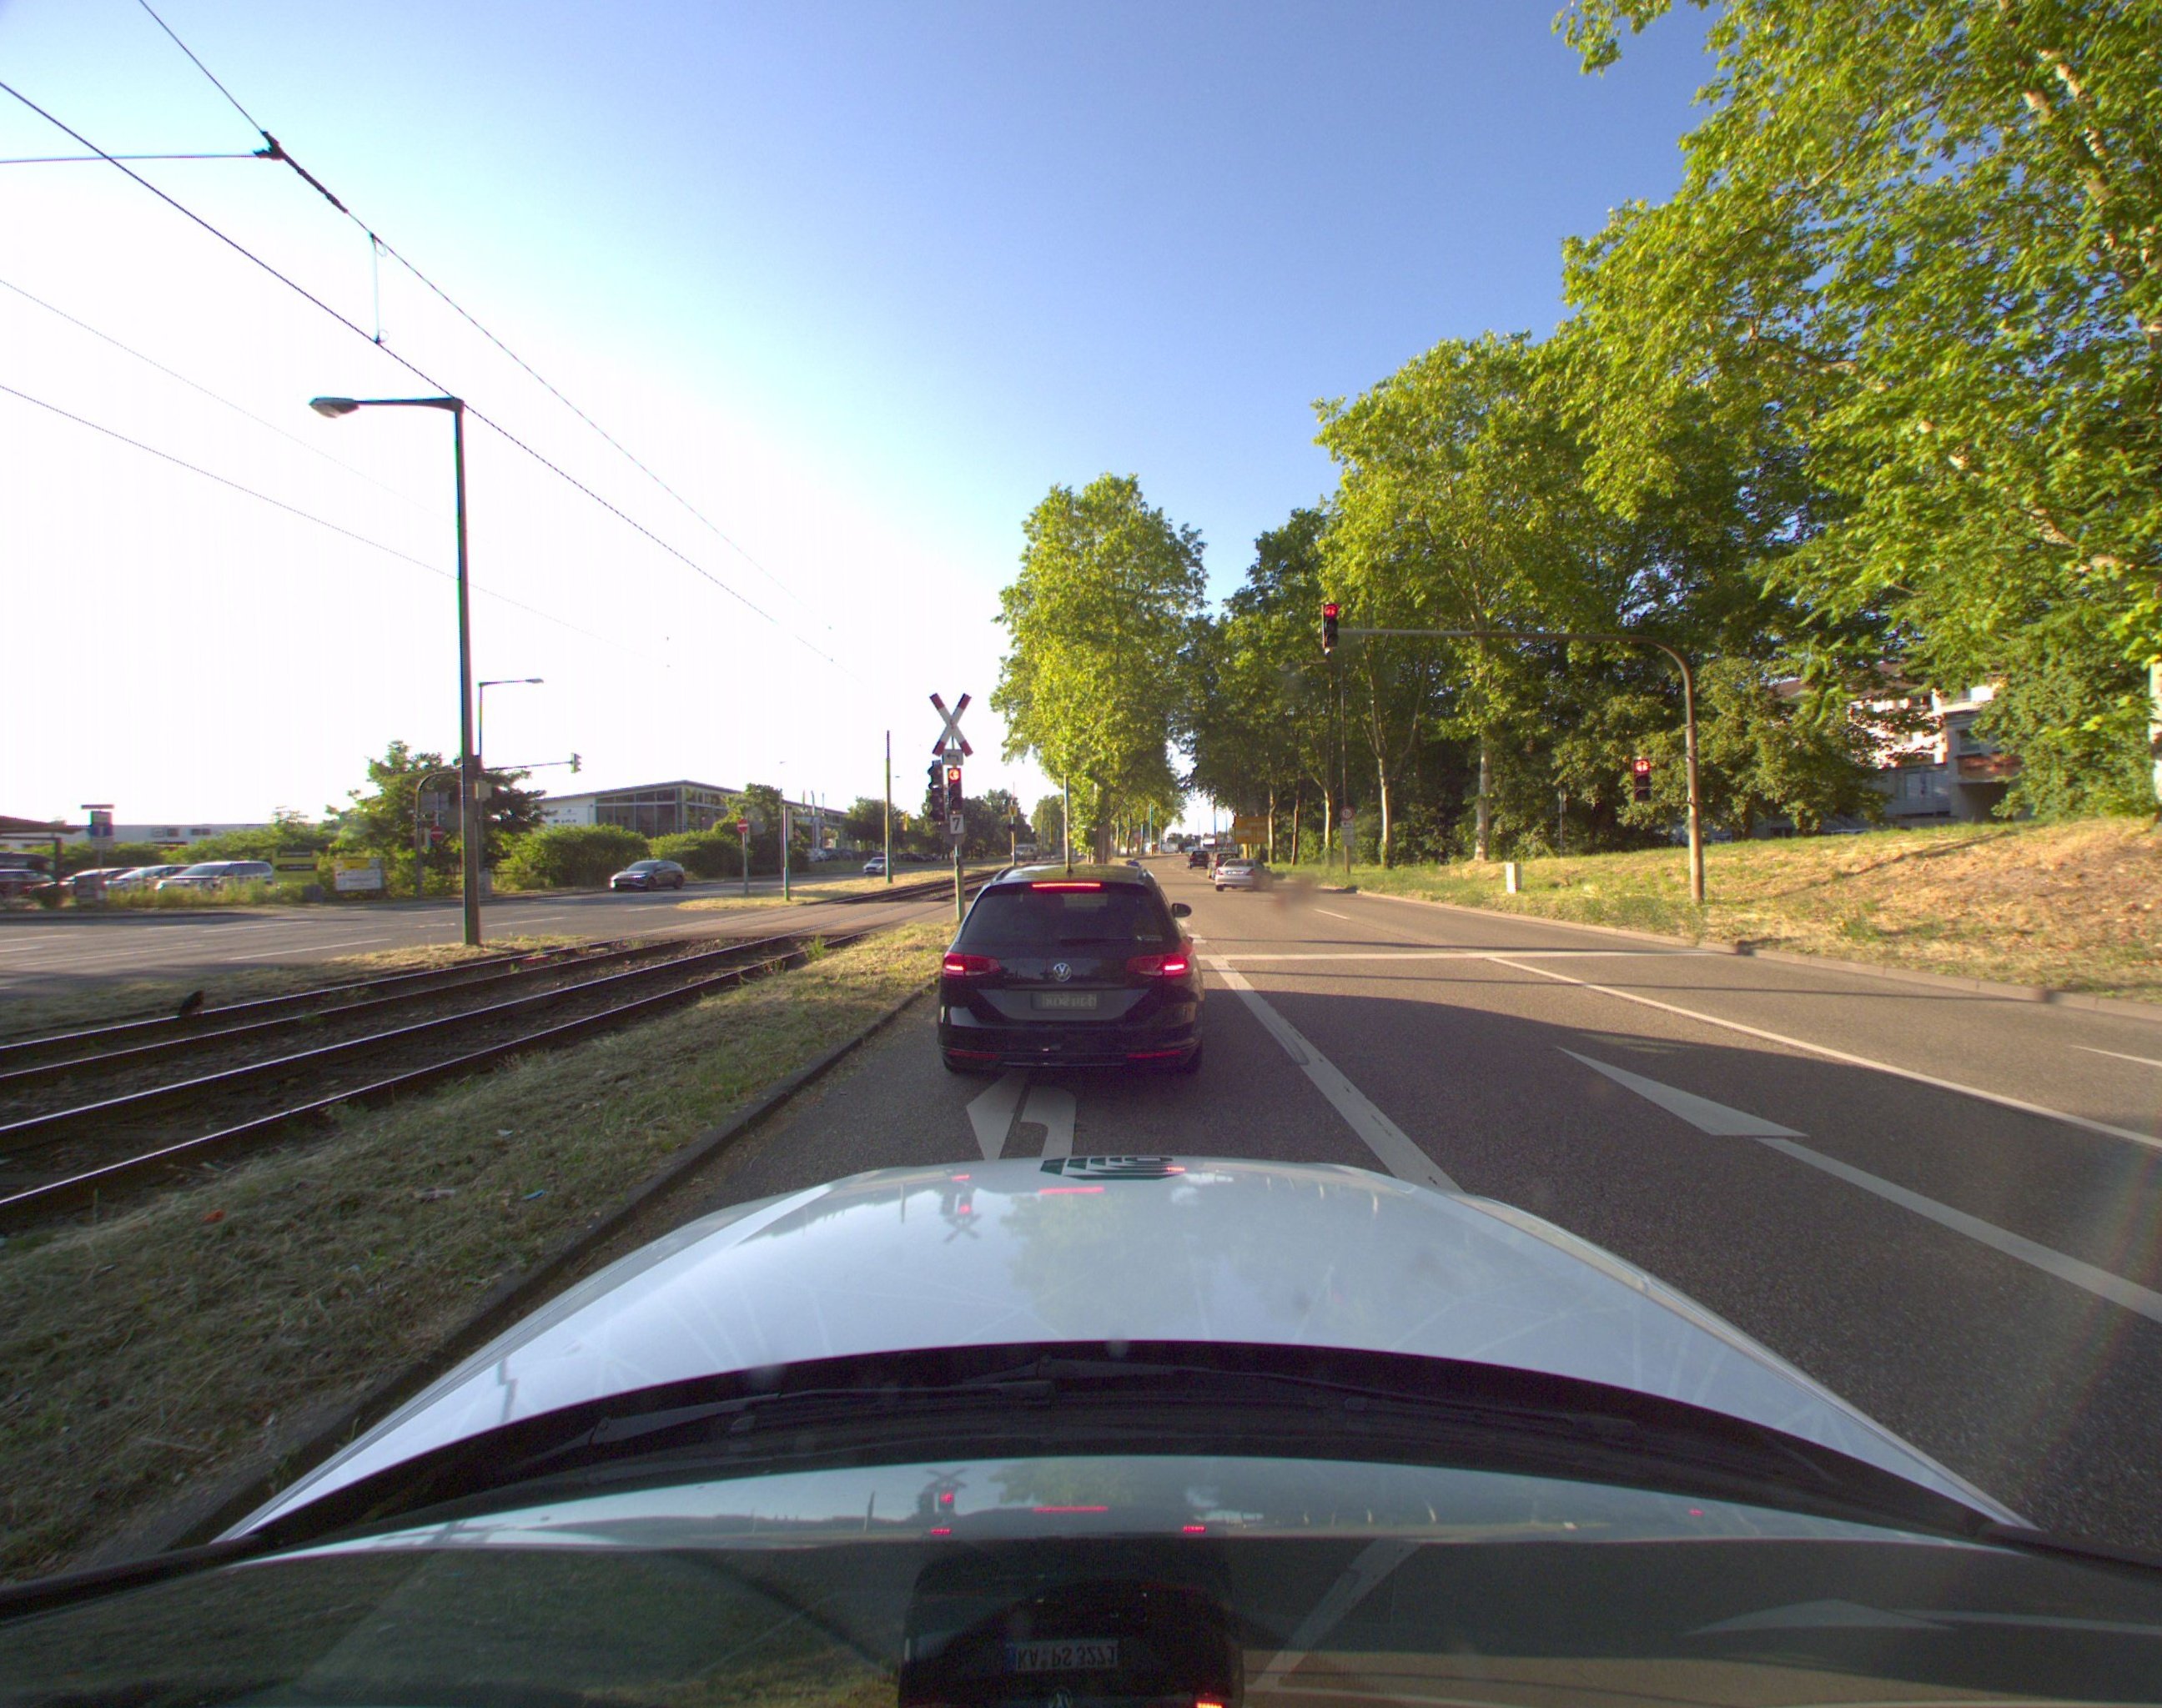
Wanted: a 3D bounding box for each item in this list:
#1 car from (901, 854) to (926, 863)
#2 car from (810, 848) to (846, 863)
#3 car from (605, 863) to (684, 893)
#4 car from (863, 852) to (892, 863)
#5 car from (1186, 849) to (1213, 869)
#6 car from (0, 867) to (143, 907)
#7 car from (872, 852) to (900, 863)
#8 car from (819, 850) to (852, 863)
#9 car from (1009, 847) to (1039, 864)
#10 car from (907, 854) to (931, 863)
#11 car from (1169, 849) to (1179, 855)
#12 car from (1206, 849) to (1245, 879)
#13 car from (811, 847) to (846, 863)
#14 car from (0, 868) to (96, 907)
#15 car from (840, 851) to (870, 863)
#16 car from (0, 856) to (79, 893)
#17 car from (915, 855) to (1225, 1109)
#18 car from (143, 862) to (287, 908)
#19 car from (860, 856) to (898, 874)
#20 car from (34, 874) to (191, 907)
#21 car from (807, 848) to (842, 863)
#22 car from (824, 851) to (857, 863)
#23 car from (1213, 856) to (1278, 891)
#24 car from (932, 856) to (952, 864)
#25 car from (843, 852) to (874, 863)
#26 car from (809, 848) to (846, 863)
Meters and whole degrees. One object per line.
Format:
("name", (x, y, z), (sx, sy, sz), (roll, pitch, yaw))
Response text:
("car", (-28.776, 0.771, 139.666), (3.978, 1.621, 1.742), (-1, 0, -3))
("car", (-29.959, 0.167, 96.378), (3.999, 1.704, 1.732), (-1, 0, -19))
("car", (-23.755, 1.258, 44.481), (1.854, 1.481, 4.176), (0, 0, 3))
("car", (-30.618, 0.549, 122.741), (3.978, 1.621, 1.742), (-1, 0, -3))
("car", (10.226, 0.412, 70.492), (1.864, 1.635, 4.373), (-1, 0, 3))
("car", (-44.714, 1.408, 35.886), (1.855, 1.583, 4.174), (0, 0, 2))
("car", (-30.129, 0.593, 125.942), (3.978, 1.621, 1.742), (-1, 0, -3))
("car", (-31.160, 0.304, 103.413), (3.999, 1.556, 1.732), (-1, 0, -19))
("car", (-8.205, 0.228, 118.482), (2.078, 2.461, 5.882), (0, 0, 20))
("car", (-29.116, 0.870, 146.835), (3.978, 1.621, 1.742), (-1, 0, -3))
("car", (25.603, -0.523, 223.267), (1.990, 1.420, 3.994), (-1, 0, -5))
("car", (8.137, 0.540, 46.172), (1.700, 1.561, 4.171), (-1, 0, 4))
("car", (-30.611, 0.132, 98.732), (3.999, 1.816, 1.732), (-1, 0, -19))
("car", (-47.164, 1.457, 36.038), (1.970, 1.583, 4.174), (0, 0, 2))
("car", (-31.238, 0.441, 112.602), (3.999, 1.556, 1.732), (-1, 0, -19))
("car", (-60.426, 1.159, 45.897), (1.855, 2.014, 4.773), (0, 0, 2))
("car", (-0.020, 0.743, 6.520), (1.788, 1.464, 3.584), (0, 0, 1))
("car", (-38.527, 1.326, 36.405), (1.855, 1.821, 4.174), (0, 0, 2))
("car", (-17.951, 0.937, 72.591), (1.851, 1.481, 4.101), (0, 0, 8))
("car", (-42.475, 1.567, 35.883), (1.855, 1.267, 4.174), (0, 0, 2))
("car", (-31.654, 0.134, 100.513), (3.999, 1.816, 1.732), (-1, 0, -19))
("car", (-31.374, 0.349, 106.203), (3.999, 1.556, 1.732), (-1, 0, -19))
("car", (6.601, 0.721, 32.452), (1.594, 1.294, 4.006), (0, 0, 26))
("car", (-28.825, 1.187, 168.915), (3.977, 1.556, 1.742), (-1, 0, -2))
("car", (-31.447, 0.479, 115.308), (3.983, 1.556, 1.739), (-1, 0, -7))
("car", (-29.269, 0.150, 94.109), (3.999, 1.704, 1.732), (-1, 0, -19))
